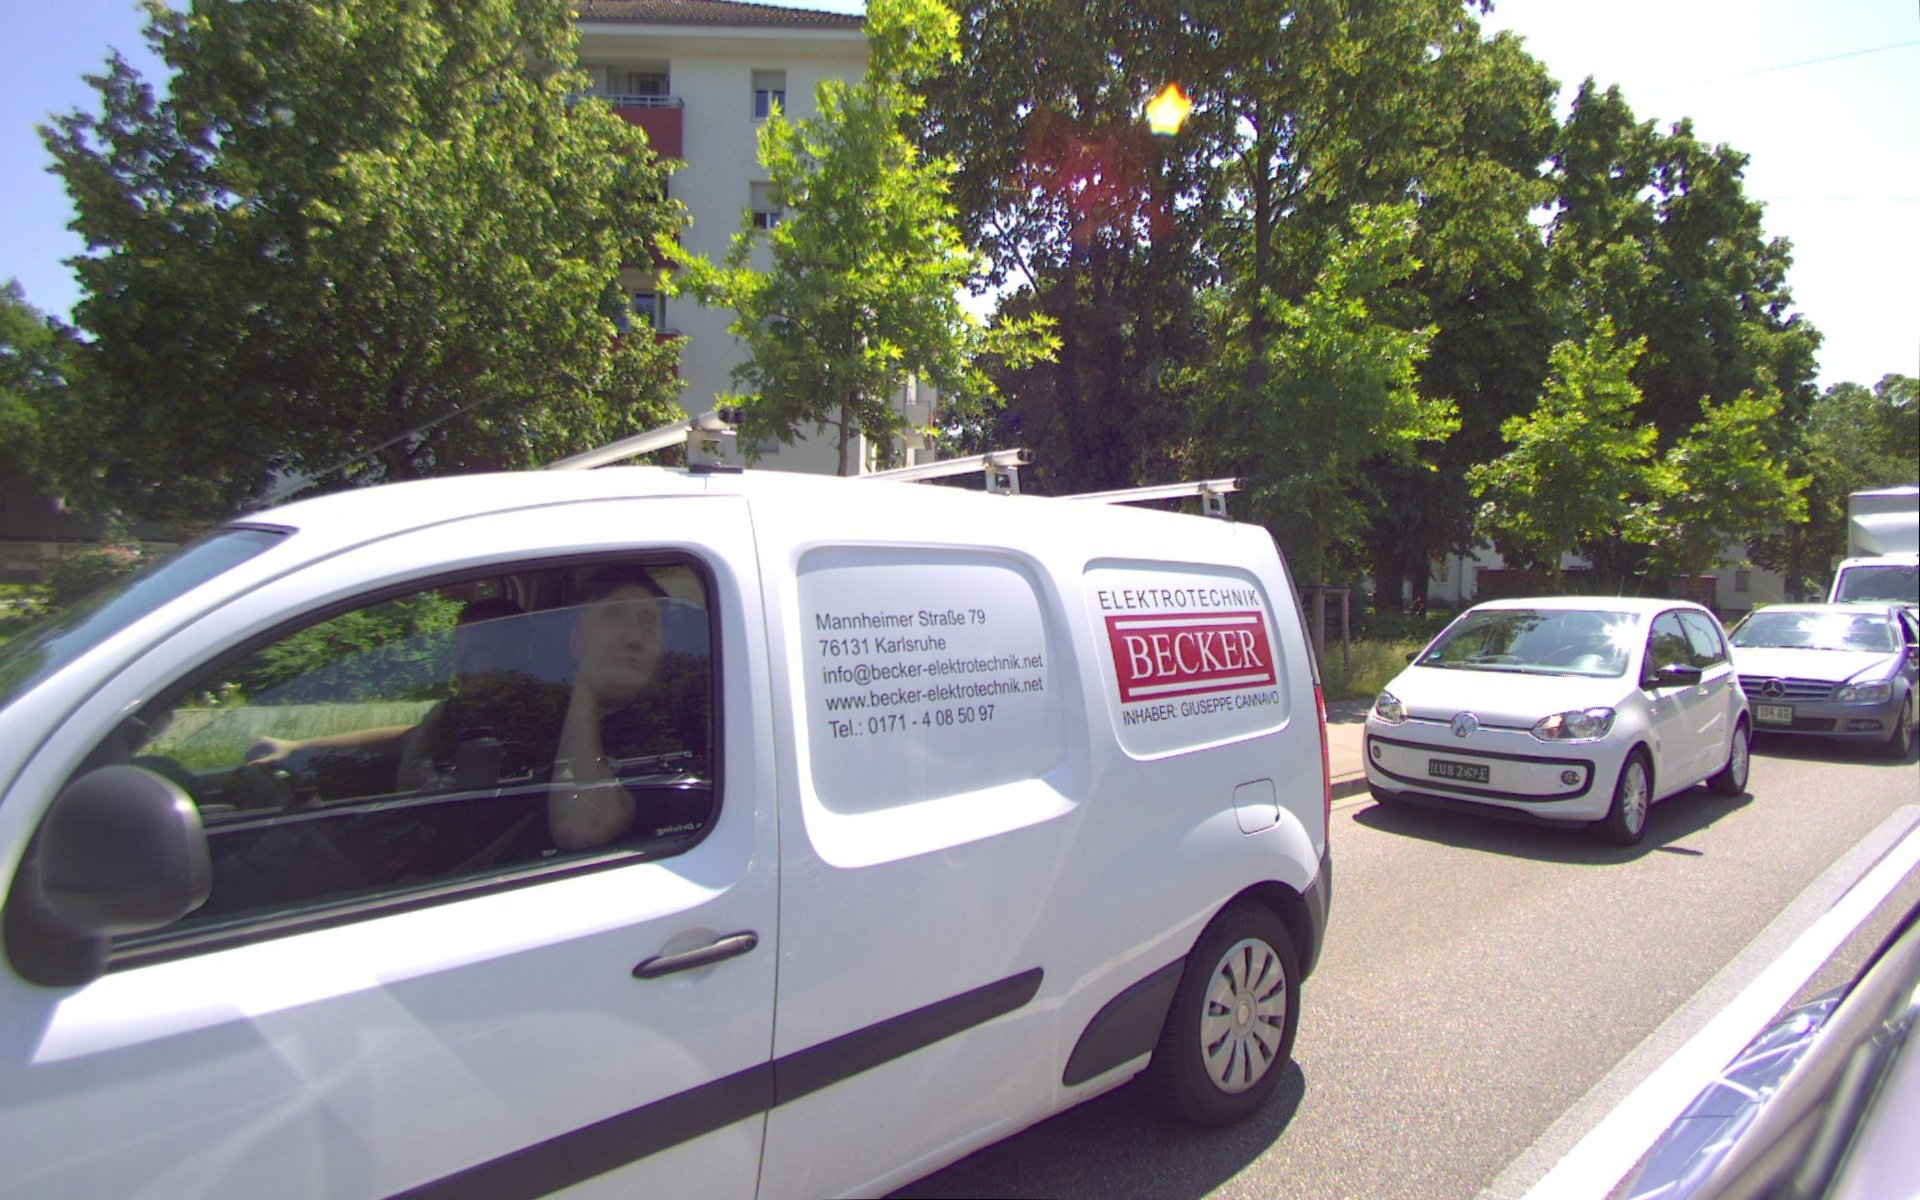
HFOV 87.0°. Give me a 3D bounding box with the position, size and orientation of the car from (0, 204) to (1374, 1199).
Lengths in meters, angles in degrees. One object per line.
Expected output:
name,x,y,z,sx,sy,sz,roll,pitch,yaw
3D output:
car,-0.997,0.455,2.536,4.370,1.849,1.997,0,1,-41

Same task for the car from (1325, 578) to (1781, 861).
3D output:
car,4.397,0.622,7.290,3.705,1.497,1.729,0,1,-41

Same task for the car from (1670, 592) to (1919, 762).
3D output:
car,9.230,0.654,10.740,4.016,1.426,1.839,0,1,-41

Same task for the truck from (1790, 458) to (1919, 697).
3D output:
truck,16.513,-0.338,16.975,7.778,3.387,2.434,0,1,-39
